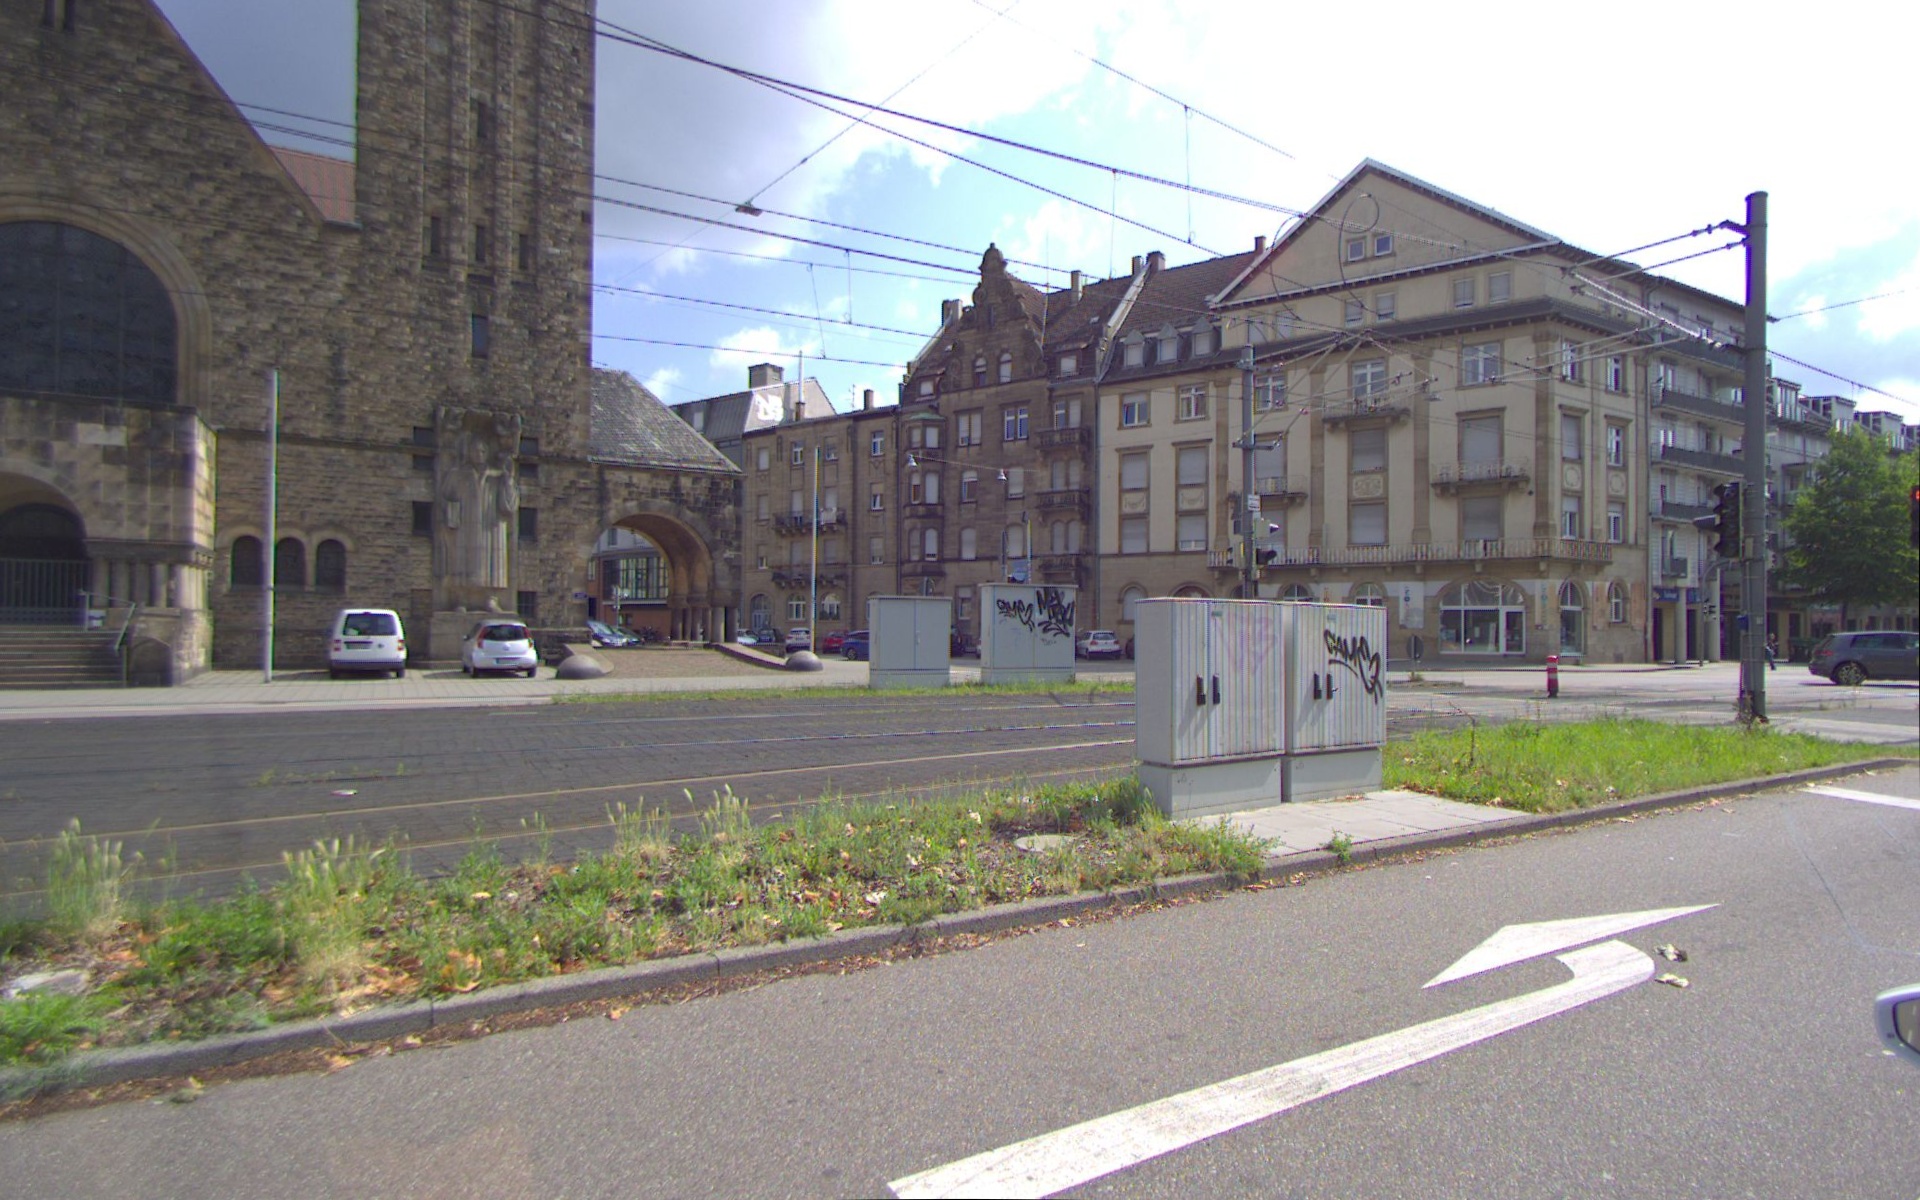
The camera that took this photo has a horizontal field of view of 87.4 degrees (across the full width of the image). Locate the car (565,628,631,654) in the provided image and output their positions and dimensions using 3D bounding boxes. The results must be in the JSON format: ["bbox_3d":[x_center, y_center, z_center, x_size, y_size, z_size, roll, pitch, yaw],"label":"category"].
[{"bbox_3d":[-20.667,2.324,57.356,3.719,1.449,1.709,-1,-2,34],"label":"car"}]

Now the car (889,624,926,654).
[{"bbox_3d":[-3.129,2.329,60.221,1.960,1.760,4.001,0,-2,1],"label":"car"}]

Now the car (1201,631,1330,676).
[{"bbox_3d":[11.200,1.926,36.994,4.259,1.567,1.625,-1,-2,38],"label":"car"}]

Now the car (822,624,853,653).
[{"bbox_3d":[-7.713,2.412,63.391,1.617,1.718,3.859,0,-2,-2],"label":"car"}]

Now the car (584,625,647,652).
[{"bbox_3d":[-21.622,2.411,62.998,3.934,1.611,1.777,-1,-2,35],"label":"car"}]

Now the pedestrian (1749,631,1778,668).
[{"bbox_3d":[35.735,2.201,44.671,0.846,1.617,0.693,0,-2,27],"label":"pedestrian"}]

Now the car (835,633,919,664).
[{"bbox_3d":[-4.009,2.294,48.156,3.933,1.449,1.532,-1,-2,34],"label":"car"}]

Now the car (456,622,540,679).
[{"bbox_3d":[-13.295,1.410,28.817,1.833,1.522,3.249,1,-2,-31],"label":"car"}]

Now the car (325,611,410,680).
[{"bbox_3d":[-16.458,1.215,27.840,1.874,1.771,3.849,1,-2,-32],"label":"car"}]

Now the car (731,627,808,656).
[{"bbox_3d":[-9.997,2.139,52.574,4.122,1.449,1.532,-1,-2,34],"label":"car"}]

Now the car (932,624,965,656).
[{"bbox_3d":[-0.635,2.299,58.353,1.850,1.782,4.001,0,-2,1],"label":"car"}]

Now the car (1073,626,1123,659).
[{"bbox_3d":[7.255,2.203,53.058,1.768,1.661,3.998,0,-2,-5],"label":"car"}]

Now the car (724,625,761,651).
[{"bbox_3d":[-14.744,2.565,68.287,1.707,1.693,4.039,0,-2,-2],"label":"car"}]

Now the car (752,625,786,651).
[{"bbox_3d":[-12.764,2.556,67.348,1.653,1.697,4.000,0,-2,-2],"label":"car"}]

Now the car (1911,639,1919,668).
[{"bbox_3d":[69.353,3.758,71.047,3.953,2.040,1.984,1,-2,-30],"label":"car"}]

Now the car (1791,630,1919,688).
[{"bbox_3d":[24.874,1.537,26.467,4.498,1.455,1.700,-1,-2,37],"label":"car"}]

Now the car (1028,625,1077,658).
[{"bbox_3d":[4.968,2.221,54.260,1.962,1.695,3.998,0,-2,-5],"label":"car"}]

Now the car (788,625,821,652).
[{"bbox_3d":[-10.031,2.481,65.052,1.686,1.706,4.000,0,-2,-2],"label":"car"}]

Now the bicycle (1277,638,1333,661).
[{"bbox_3d":[16.343,2.340,47.574,2.525,1.067,0.803,1,-2,-18],"label":"bicycle"}]

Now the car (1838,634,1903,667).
[{"bbox_3d":[58.403,3.228,64.397,3.953,2.040,1.984,1,-2,-30],"label":"car"}]
